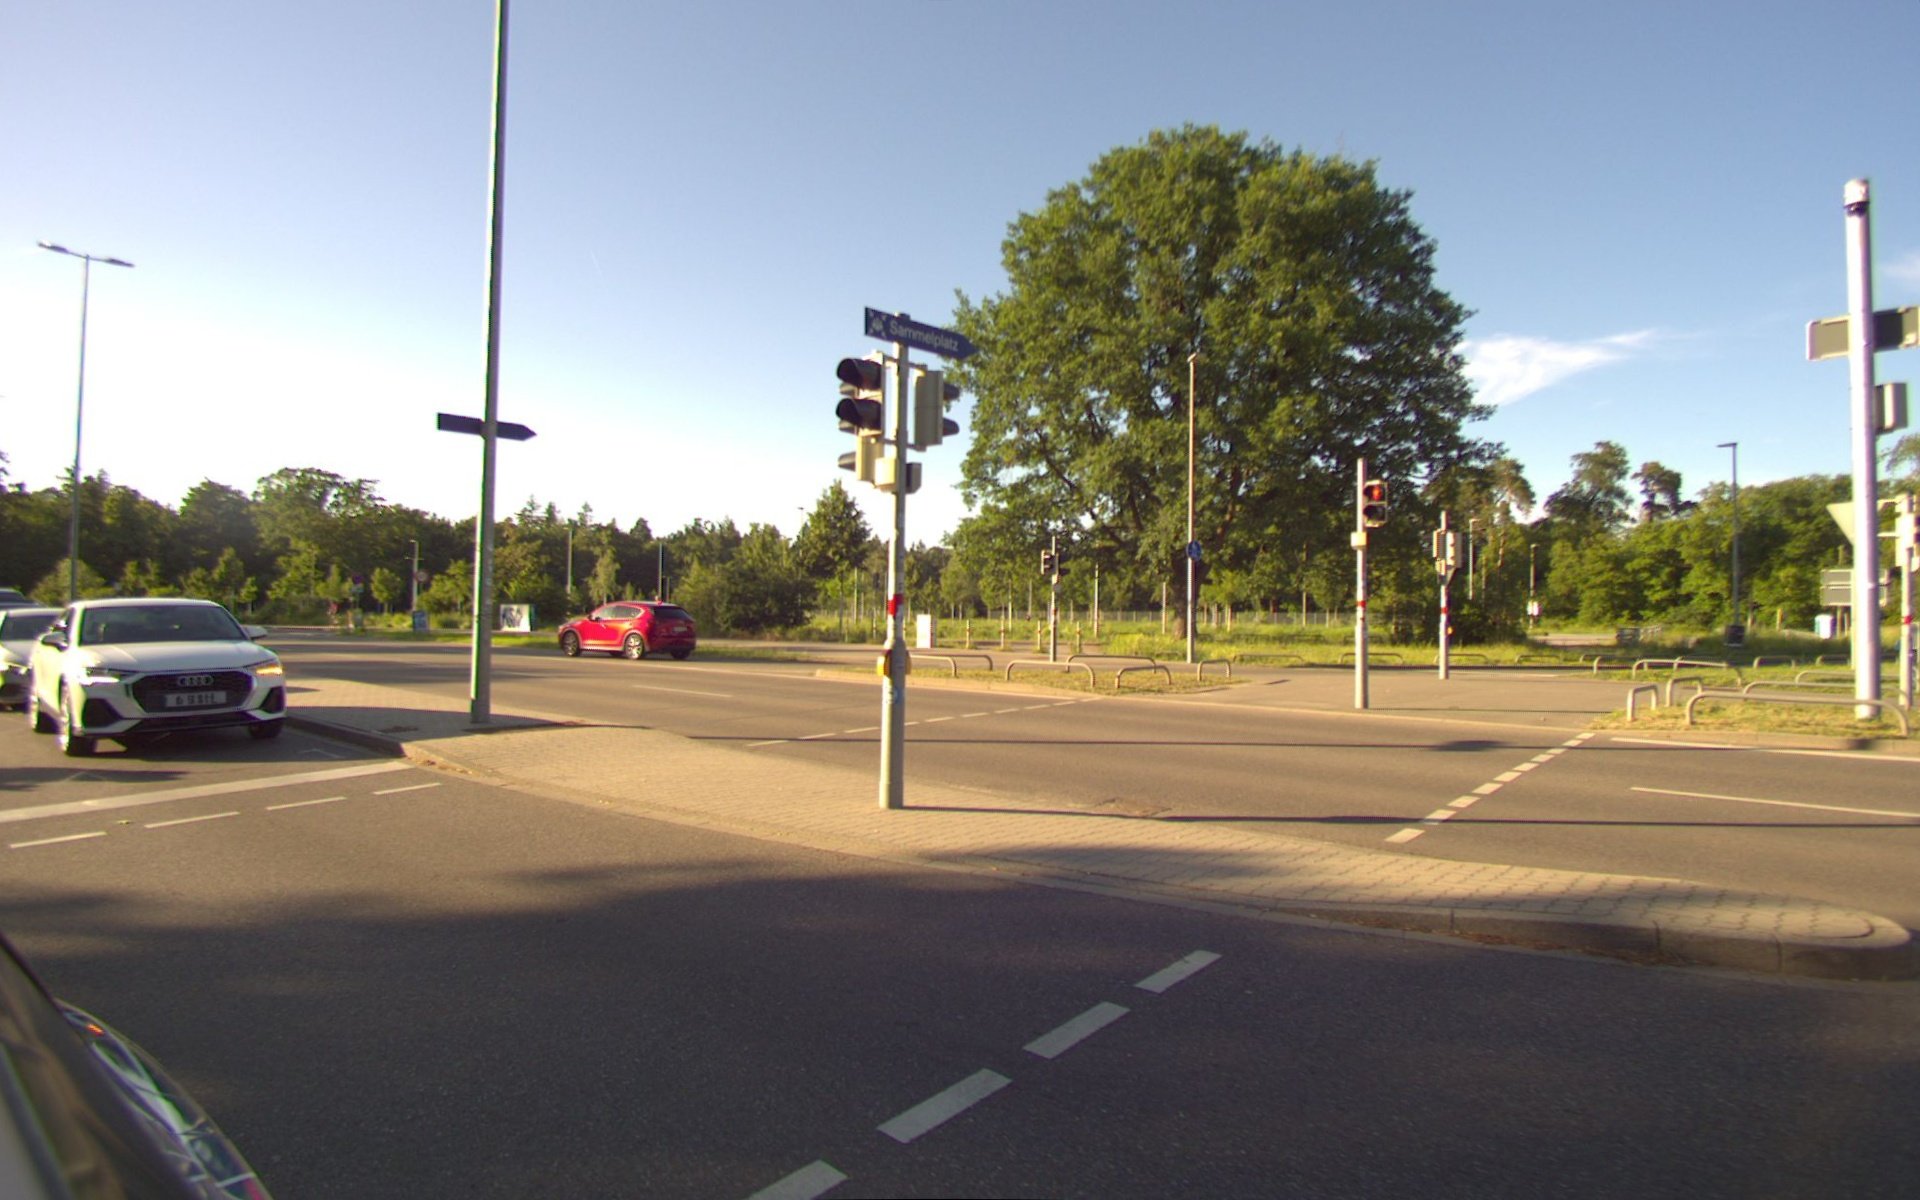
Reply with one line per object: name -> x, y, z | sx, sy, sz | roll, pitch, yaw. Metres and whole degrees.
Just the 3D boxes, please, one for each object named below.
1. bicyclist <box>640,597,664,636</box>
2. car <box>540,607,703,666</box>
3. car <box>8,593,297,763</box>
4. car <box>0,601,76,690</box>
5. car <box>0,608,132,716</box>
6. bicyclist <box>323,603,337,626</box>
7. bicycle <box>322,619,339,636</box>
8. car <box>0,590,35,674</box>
bicyclist -> -13.049, 0.704, 42.884 | 0.672, 1.623, 0.801 | 0, 0, -41
car -> -9.700, 1.003, 28.913 | 4.554, 1.565, 1.873 | 0, -2, 30
car -> -9.032, 0.723, 11.191 | 4.299, 1.524, 1.814 | -1, -1, 42
car -> -18.736, 0.840, 19.665 | 4.318, 1.595, 1.774 | -1, -1, 41
car -> -14.056, 0.849, 15.387 | 4.317, 1.438, 1.639 | -1, -1, 42
bicyclist -> -39.431, 0.877, 63.356 | 0.800, 1.424, 0.585 | 0, 0, 43
bicycle -> -39.500, 1.722, 63.480 | 1.362, 1.027, 0.576 | 0, 0, 43
car -> -23.872, 0.749, 24.285 | 5.231, 1.887, 1.860 | -1, -1, 41
